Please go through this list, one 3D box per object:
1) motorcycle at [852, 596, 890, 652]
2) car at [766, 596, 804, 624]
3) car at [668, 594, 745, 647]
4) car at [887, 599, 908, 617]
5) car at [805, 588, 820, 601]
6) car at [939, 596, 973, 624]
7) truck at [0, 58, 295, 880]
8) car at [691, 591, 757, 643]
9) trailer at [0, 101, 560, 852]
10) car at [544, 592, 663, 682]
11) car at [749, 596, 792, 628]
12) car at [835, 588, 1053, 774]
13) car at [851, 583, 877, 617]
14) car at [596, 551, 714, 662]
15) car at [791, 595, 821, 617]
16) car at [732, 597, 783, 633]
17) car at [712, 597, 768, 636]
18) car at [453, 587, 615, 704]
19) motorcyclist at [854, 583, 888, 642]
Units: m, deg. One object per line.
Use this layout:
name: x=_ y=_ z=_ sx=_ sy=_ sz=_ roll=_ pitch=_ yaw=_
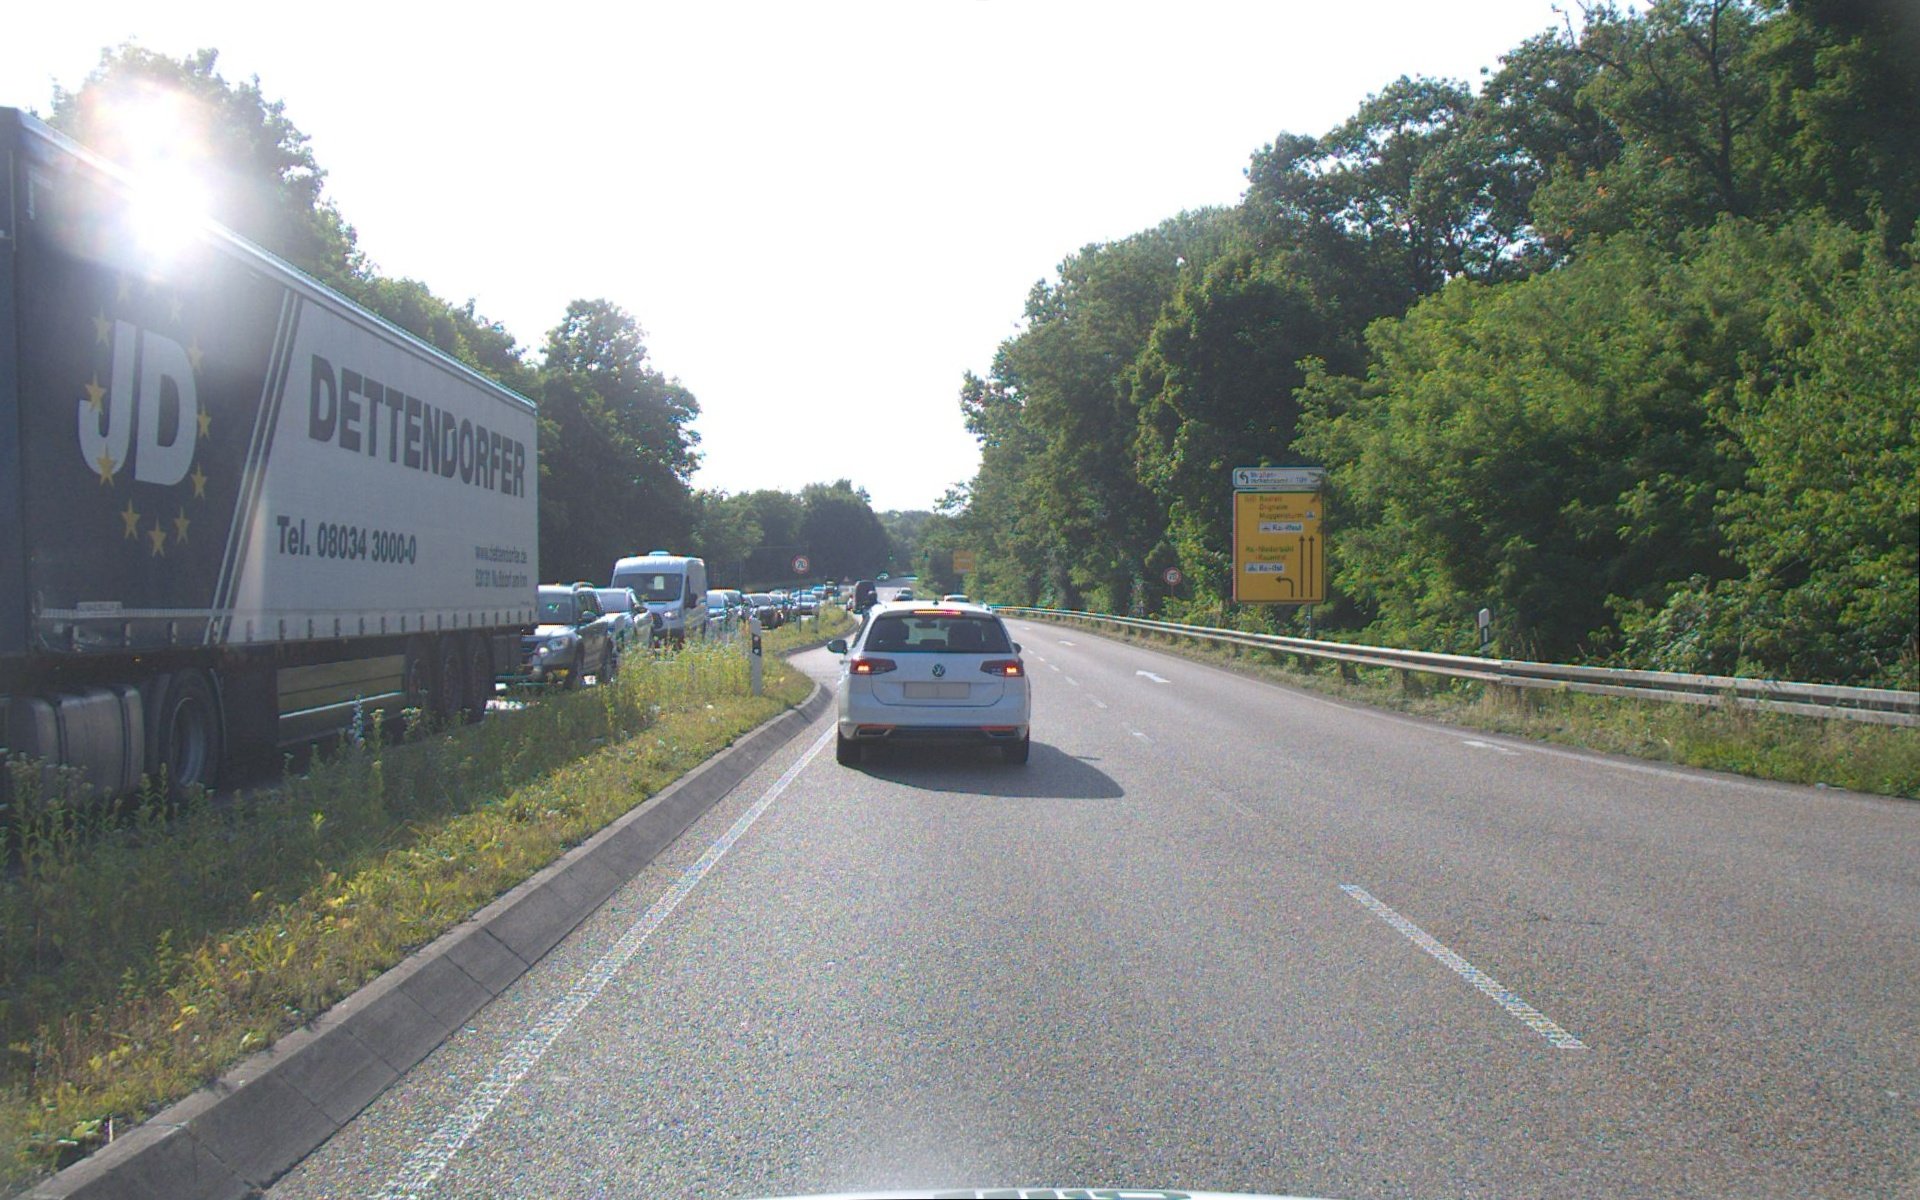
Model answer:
motorcycle: x=-2.535 y=0.667 z=47.311 sx=0.890 sy=1.479 sz=2.689 roll=-3 pitch=1 yaw=0
car: x=-9.591 y=0.516 z=90.866 sx=1.731 sy=1.442 sz=4.432 roll=-1 pitch=0 yaw=-2
car: x=-7.588 y=0.578 z=49.918 sx=1.725 sy=1.482 sz=5.183 roll=-1 pitch=0 yaw=-2
car: x=-5.910 y=0.720 z=156.609 sx=1.711 sy=1.564 sz=3.920 roll=2 pitch=0 yaw=-6
car: x=-18.227 y=-0.693 z=204.863 sx=1.753 sy=1.436 sz=4.222 roll=2 pitch=0 yaw=-5
car: x=-0.236 y=0.498 z=88.480 sx=1.726 sy=1.404 sz=3.970 roll=2 pitch=0 yaw=-1
truck: x=-6.226 y=-0.658 z=9.029 sx=2.833 sy=4.067 sz=6.717 roll=0 pitch=0 yaw=-4
car: x=-8.036 y=0.547 z=56.701 sx=1.735 sy=1.698 sz=4.798 roll=-1 pitch=0 yaw=-2
trailer: x=-6.622 y=-0.722 z=15.872 sx=2.932 sy=4.066 sz=14.004 roll=0 pitch=0 yaw=-3
car: x=-7.183 y=0.688 z=33.746 sx=1.666 sy=1.660 sz=4.744 roll=-1 pitch=0 yaw=-4
car: x=-9.022 y=0.551 z=78.967 sx=1.672 sy=1.448 sz=4.209 roll=-1 pitch=0 yaw=-2
car: x=-0.274 y=0.676 z=16.499 sx=1.833 sy=1.548 sz=4.831 roll=1 pitch=0 yaw=-3
car: x=-8.447 y=-0.019 z=146.182 sx=2.165 sy=2.939 sz=7.008 roll=-1 pitch=0 yaw=-2
car: x=-7.570 y=0.121 z=41.657 sx=2.033 sy=2.578 sz=6.161 roll=-1 pitch=0 yaw=-2
car: x=-10.621 y=0.401 z=114.267 sx=1.830 sy=1.442 sz=4.414 roll=-1 pitch=0 yaw=-2
car: x=-8.770 y=0.613 z=71.974 sx=1.735 sy=1.448 sz=5.190 roll=-1 pitch=0 yaw=-2
car: x=-8.558 y=0.621 z=64.698 sx=1.735 sy=1.403 sz=4.841 roll=-1 pitch=0 yaw=-2
car: x=-6.612 y=0.640 z=26.115 sx=1.666 sy=1.660 sz=4.367 roll=-1 pitch=0 yaw=-4
motorcyclist: x=-2.546 y=0.362 z=47.422 sx=0.865 sy=1.644 sz=1.290 roll=2 pitch=0 yaw=0
